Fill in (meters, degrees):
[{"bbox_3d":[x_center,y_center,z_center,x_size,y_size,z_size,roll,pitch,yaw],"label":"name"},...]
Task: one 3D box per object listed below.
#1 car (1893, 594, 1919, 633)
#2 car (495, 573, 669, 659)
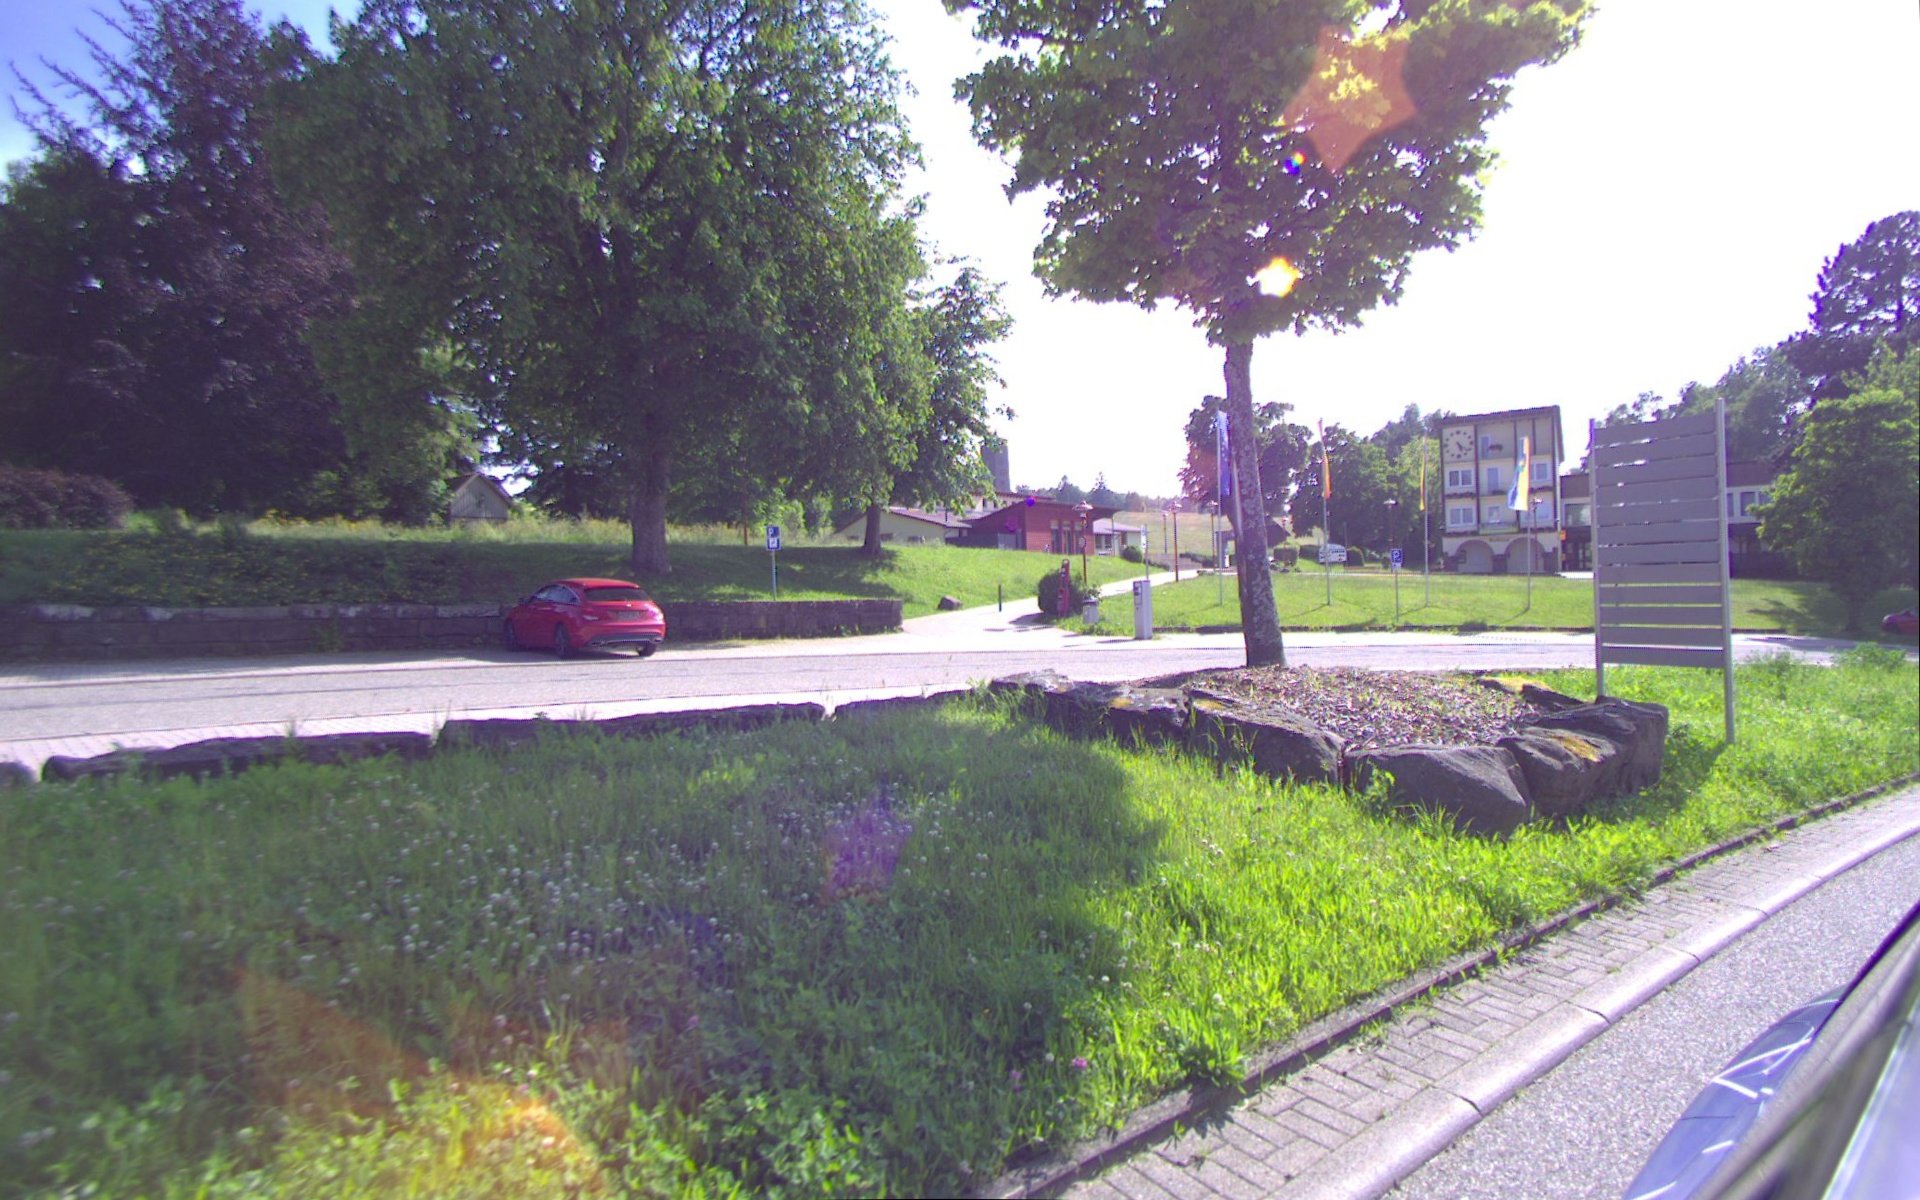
[{"bbox_3d":[37.068,0.588,37.538,1.680,1.421,3.318,0,4,-4],"label":"car"},{"bbox_3d":[-7.334,0.213,19.418,1.673,1.446,4.258,-1,2,-42],"label":"car"}]
